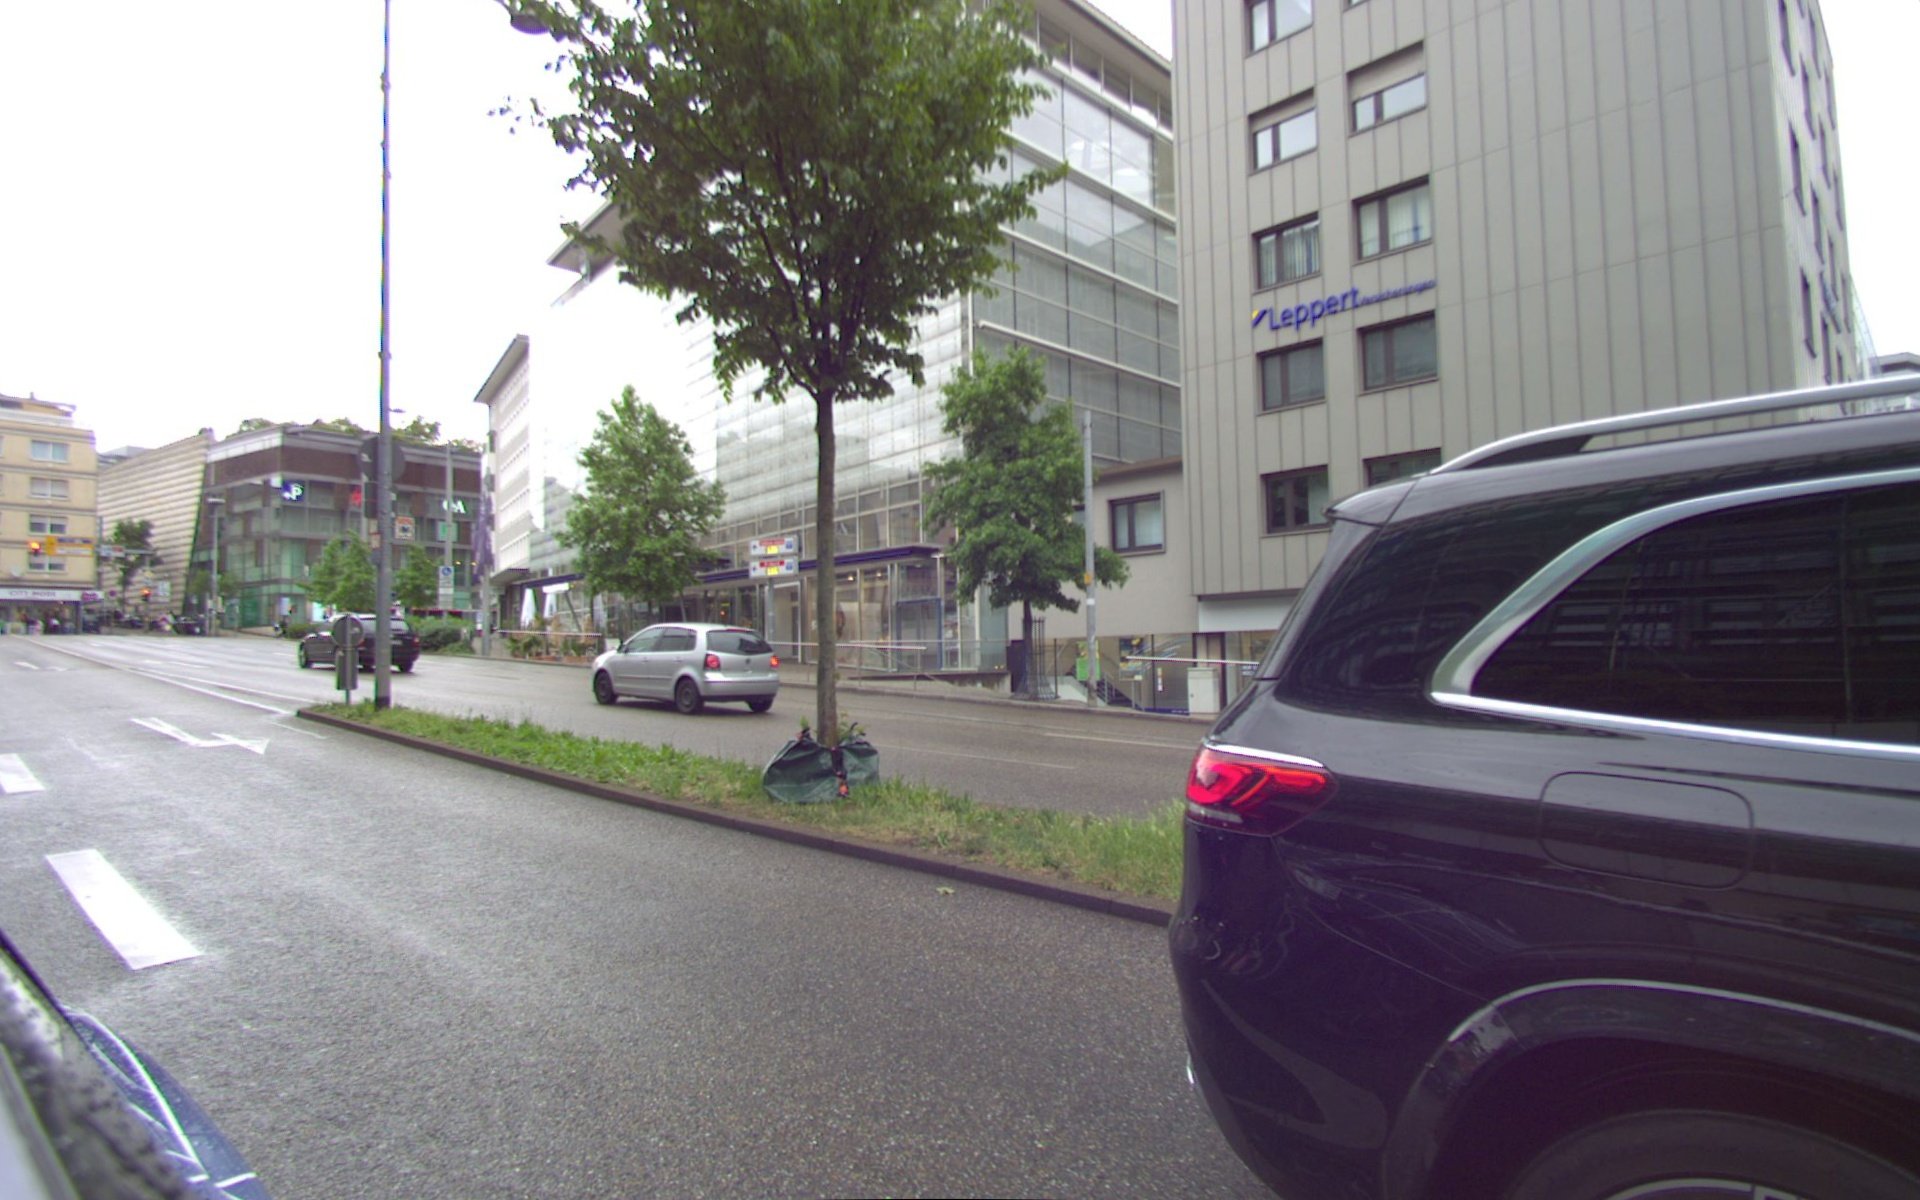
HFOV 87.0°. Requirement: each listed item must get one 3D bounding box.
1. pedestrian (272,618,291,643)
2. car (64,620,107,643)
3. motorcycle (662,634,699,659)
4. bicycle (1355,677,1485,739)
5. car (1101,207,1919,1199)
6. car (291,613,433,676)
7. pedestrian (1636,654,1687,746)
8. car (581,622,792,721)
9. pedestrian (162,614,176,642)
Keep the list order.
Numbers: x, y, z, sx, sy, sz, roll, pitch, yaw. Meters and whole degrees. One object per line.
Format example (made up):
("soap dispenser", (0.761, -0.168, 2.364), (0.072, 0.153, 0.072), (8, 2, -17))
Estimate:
("pedestrian", (-51.720, 2.311, 77.169), (0.735, 1.913, 0.978), (-1, 0, 23))
("car", (-80.816, 2.922, 93.519), (3.988, 2.029, 1.978), (-1, 0, 33))
("motorcycle", (-12.669, 2.100, 45.827), (1.549, 1.080, 0.418), (4, -3, -41))
("bicycle", (10.408, 2.421, 22.970), (2.574, 1.275, 0.678), (-3, -4, 42))
("car", (2.775, 0.409, 1.158), (4.881, 1.791, 1.974), (0, 0, 40))
("car", (-15.766, 1.124, 26.620), (4.183, 1.520, 1.973), (0, -2, 41))
("pedestrian", (13.829, 1.949, 19.952), (0.589, 1.731, 0.728), (4, -3, -43))
("car", (-4.671, 1.138, 17.083), (3.643, 1.448, 1.609), (0, -2, 39))
("pedestrian", (-52.918, 1.837, 67.723), (0.588, 1.855, 0.598), (-1, 0, 40))
